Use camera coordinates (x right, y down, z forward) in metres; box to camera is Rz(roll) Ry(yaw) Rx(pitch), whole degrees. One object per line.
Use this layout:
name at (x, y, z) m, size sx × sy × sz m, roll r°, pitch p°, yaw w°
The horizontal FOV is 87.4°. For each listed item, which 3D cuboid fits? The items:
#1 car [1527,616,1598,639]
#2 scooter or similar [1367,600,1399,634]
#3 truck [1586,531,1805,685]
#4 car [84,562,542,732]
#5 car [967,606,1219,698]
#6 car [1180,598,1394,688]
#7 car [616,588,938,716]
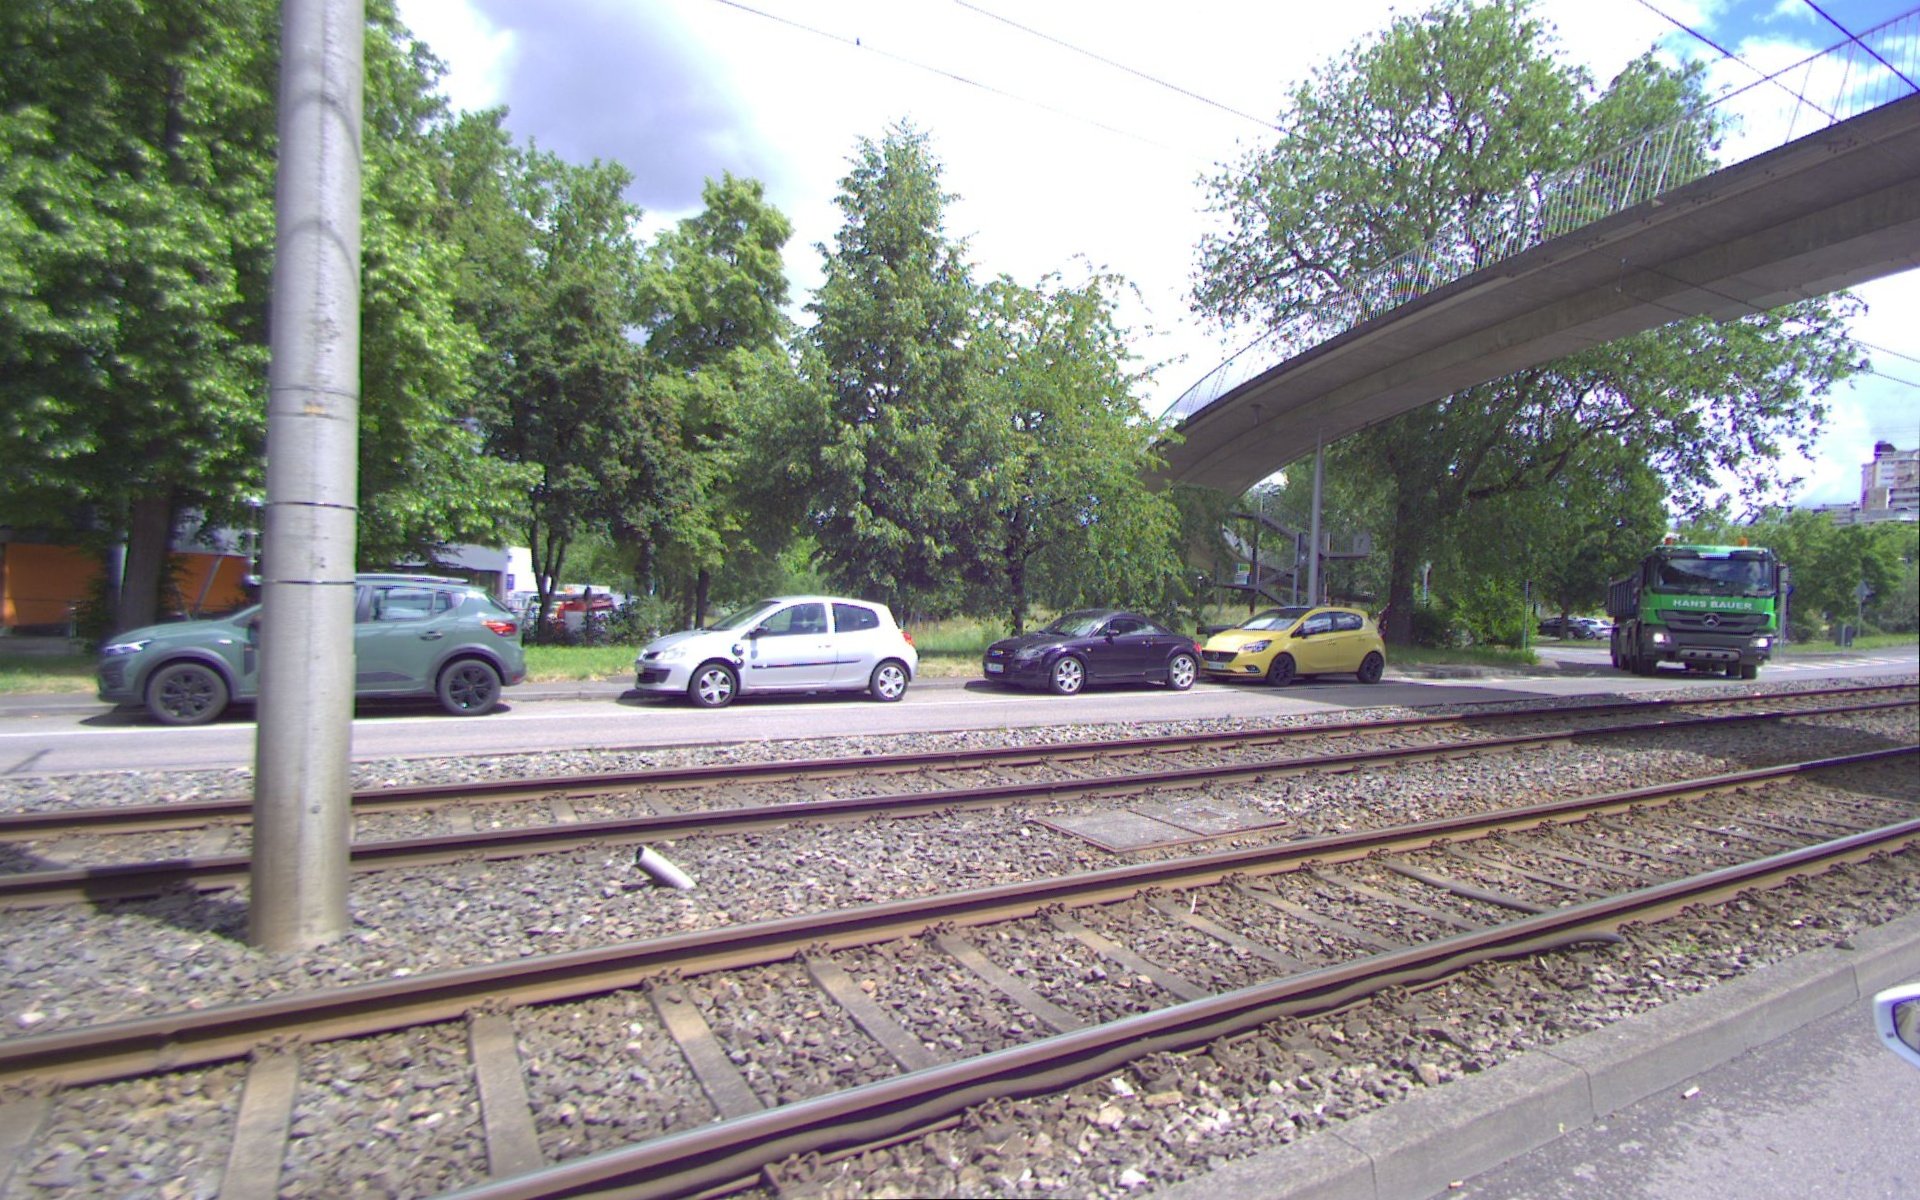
car at (42.514, 1.923, 71.000) m, size 1.755 × 1.293 × 3.950 m, roll 3°, pitch 1°, yaw -26°
scooter or similar at (15.655, 0.626, 37.185) m, size 0.778 × 1.162 × 0.707 m, roll 3°, pitch 1°, yaw -28°
truck at (19.527, 0.144, 27.383) m, size 2.826 × 3.364 × 9.023 m, roll 4°, pitch 2°, yaw 24°
car at (-7.044, 0.495, 11.406) m, size 4.075 × 1.644 × 1.635 m, roll 1°, pitch 0°, yaw -29°
car at (2.270, 0.835, 16.808) m, size 4.078 × 1.378 × 1.504 m, roll 2°, pitch 0°, yaw -29°
car at (6.309, 0.830, 19.317) m, size 3.852 × 1.469 × 1.681 m, roll 3°, pitch 1°, yaw -29°
car at (-2.512, 0.702, 14.121) m, size 4.144 × 1.514 × 1.585 m, roll 2°, pitch 2°, yaw -31°
